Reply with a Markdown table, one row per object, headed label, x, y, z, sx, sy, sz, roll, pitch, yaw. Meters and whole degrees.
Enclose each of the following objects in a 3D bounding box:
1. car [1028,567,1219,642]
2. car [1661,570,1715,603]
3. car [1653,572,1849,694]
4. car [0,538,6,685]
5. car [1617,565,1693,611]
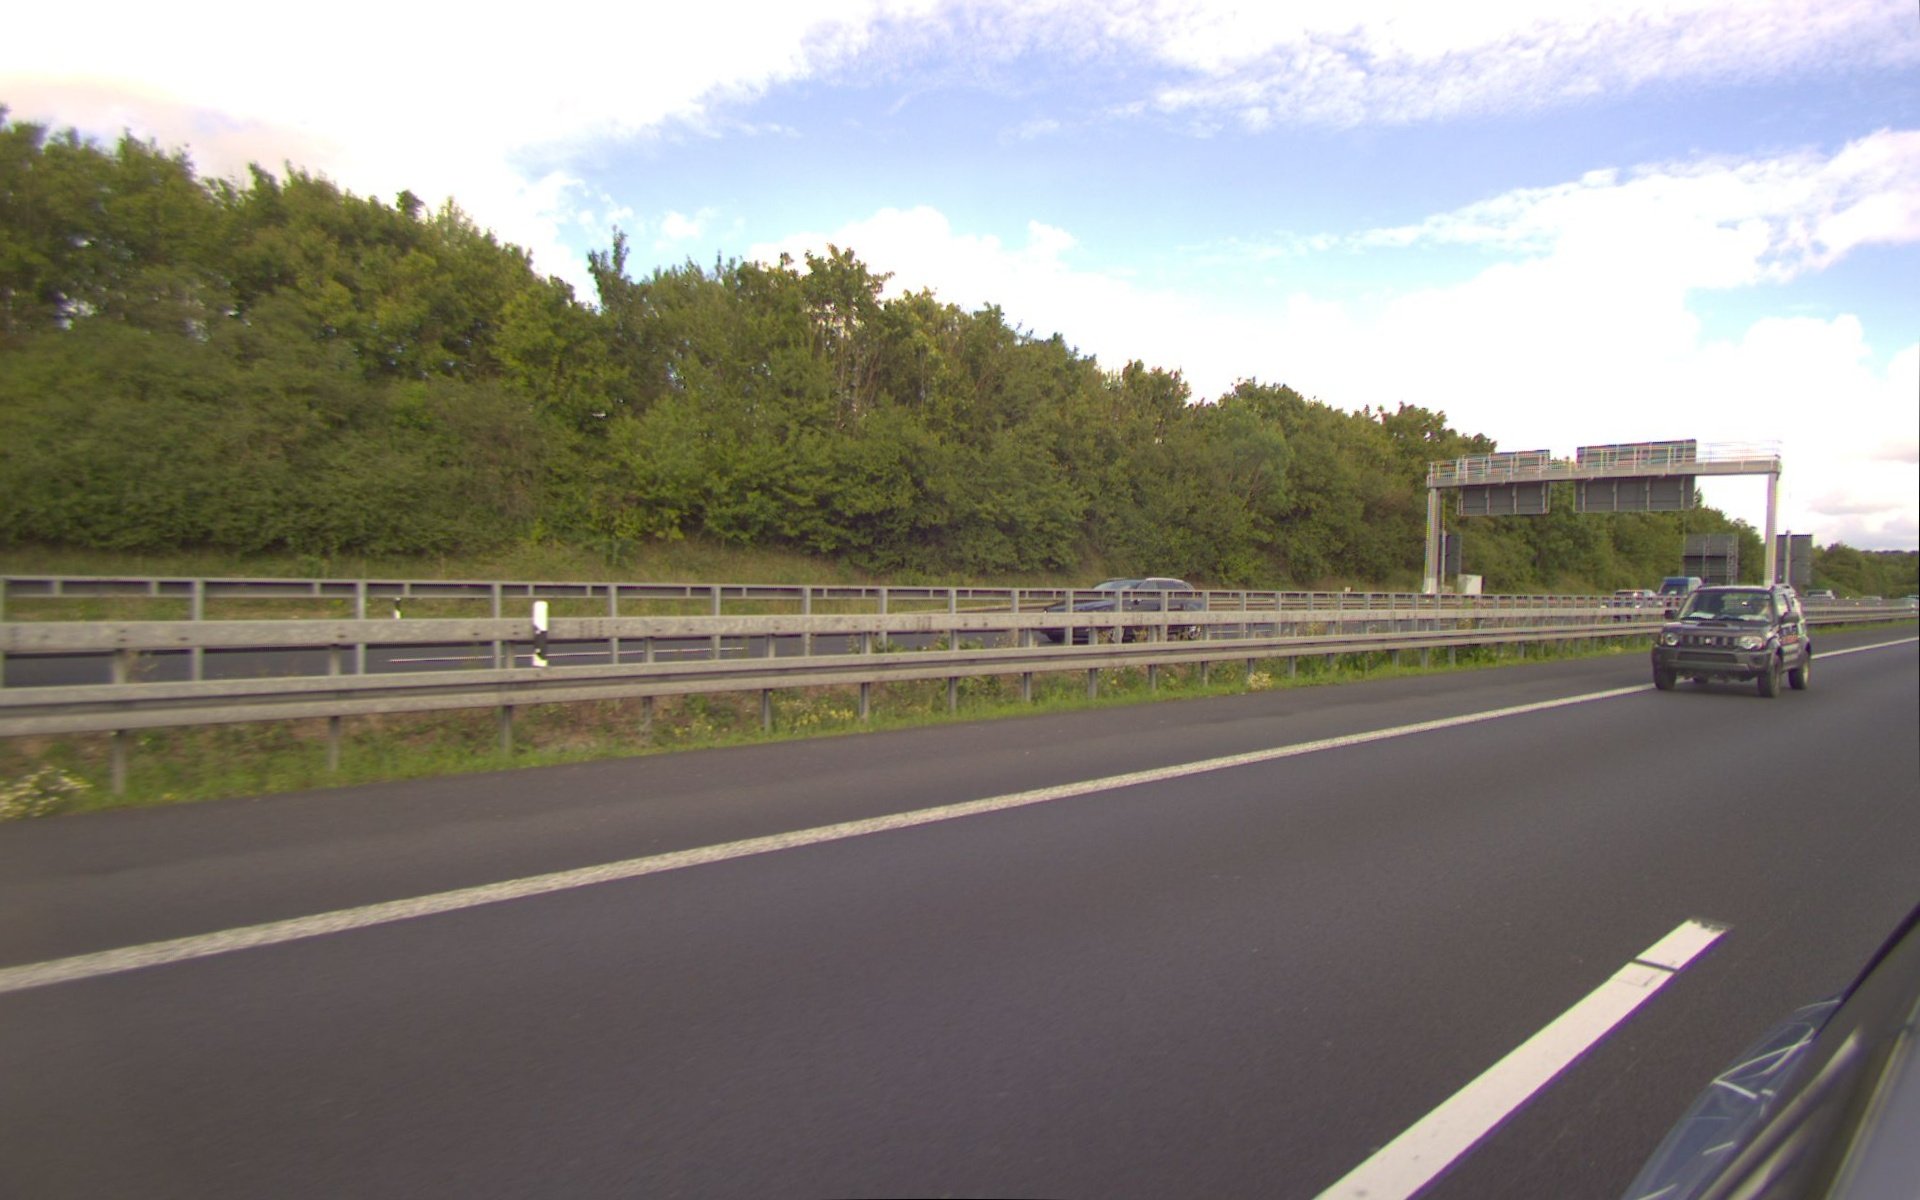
| label | x | y | z | sx | sy | sz | roll | pitch | yaw |
| --- | --- | --- | --- | --- | --- | --- | --- | --- | --- |
| car | 3.701 | 0.045 | 22.549 | 4.236 | 1.503 | 1.997 | 0 | 2 | -42 |
| car | 50.615 | -0.938 | 70.317 | 5.040 | 2.212 | 1.997 | 0 | 2 | -42 |
| car | 13.181 | 0.458 | 16.782 | 4.131 | 1.754 | 1.670 | 0 | 2 | -39 |
| car | -11.398 | 0.127 | 9.168 | 3.931 | 1.503 | 1.997 | 0 | 2 | -42 |
| car | 33.376 | -0.592 | 48.592 | 3.930 | 2.038 | 1.998 | 0 | 3 | -41 |
